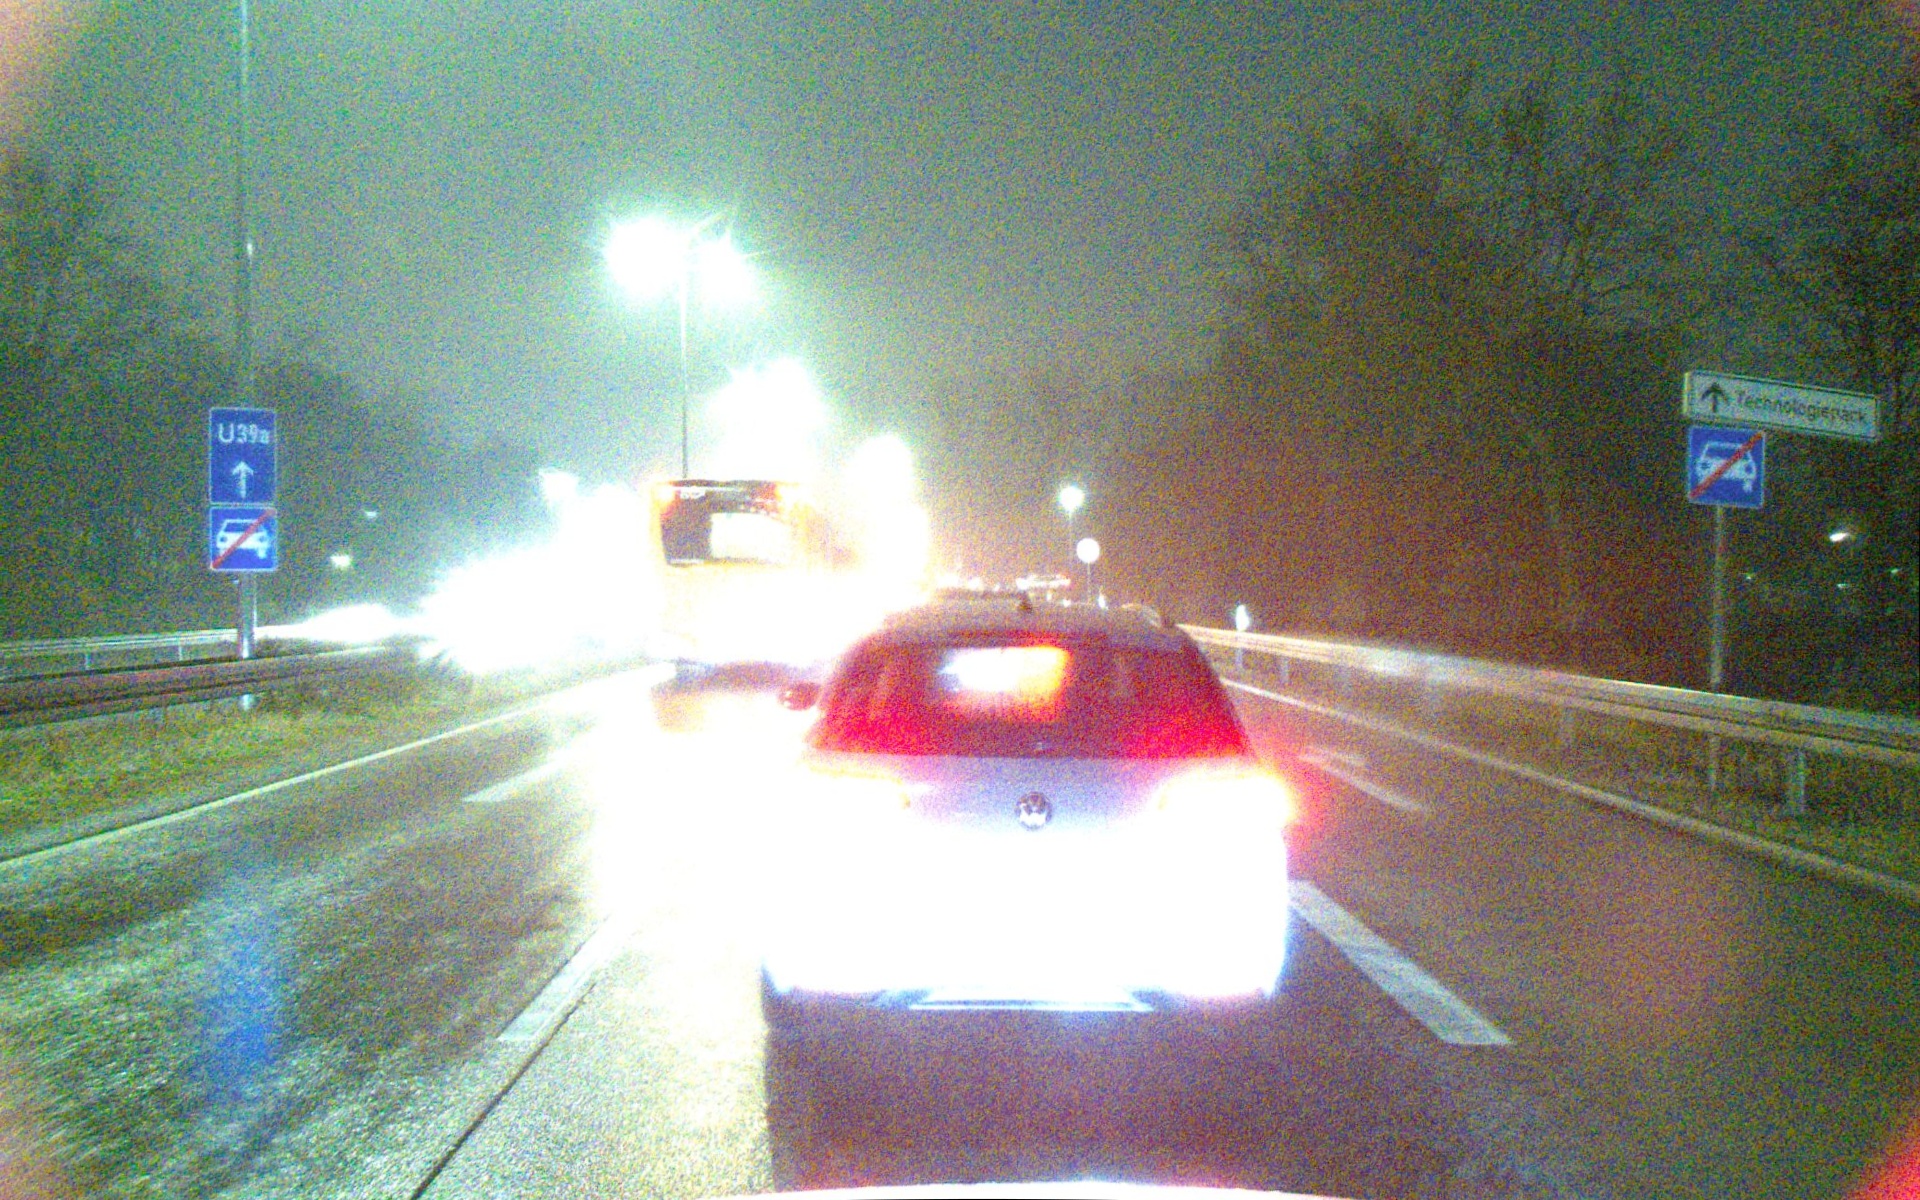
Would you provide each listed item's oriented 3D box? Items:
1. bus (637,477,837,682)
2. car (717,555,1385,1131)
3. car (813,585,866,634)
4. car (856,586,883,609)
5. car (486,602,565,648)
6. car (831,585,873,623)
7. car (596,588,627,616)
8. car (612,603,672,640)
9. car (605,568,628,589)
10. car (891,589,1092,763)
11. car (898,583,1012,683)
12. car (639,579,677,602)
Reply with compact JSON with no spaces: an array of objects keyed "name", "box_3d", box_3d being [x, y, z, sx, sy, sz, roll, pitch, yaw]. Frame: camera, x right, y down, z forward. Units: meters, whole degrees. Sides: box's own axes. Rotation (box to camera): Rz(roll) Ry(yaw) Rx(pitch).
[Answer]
[{"name":"bus","box_3d":[-3.689,-0.332,29.325,2.759,3.077,8.682,0,0,-3]},{"name":"car","box_3d":[0.224,0.663,6.876,1.785,1.510,4.567,3,0,-1]},{"name":"car","box_3d":[-4.059,0.296,56.155,1.744,1.570,3.872,1,0,-3]},{"name":"car","box_3d":[-6.398,-0.205,116.938,1.743,1.570,3.874,1,0,-1]},{"name":"car","box_3d":[-14.767,0.819,56.398,1.578,1.406,4.163,-2,1,-1]},{"name":"car","box_3d":[-4.619,0.162,71.009,1.744,1.570,3.873,1,0,-3]},{"name":"car","box_3d":[-26.662,0.173,126.515,1.956,2.049,3.993,1,0,-7]},{"name":"car","box_3d":[-12.832,0.852,66.955,1.578,1.406,4.745,0,1,-1]},{"name":"car","box_3d":[-35.034,-2.141,168.721,2.085,2.049,3.985,1,0,-14]},{"name":"car","box_3d":[0.179,0.641,16.585,1.697,1.474,4.722,1,0,-3]},{"name":"car","box_3d":[-0.150,0.525,28.559,1.705,1.592,3.773,1,0,-4]},{"name":"car","box_3d":[-27.365,-0.889,149.808,1.975,2.049,3.954,1,0,-33]}]
